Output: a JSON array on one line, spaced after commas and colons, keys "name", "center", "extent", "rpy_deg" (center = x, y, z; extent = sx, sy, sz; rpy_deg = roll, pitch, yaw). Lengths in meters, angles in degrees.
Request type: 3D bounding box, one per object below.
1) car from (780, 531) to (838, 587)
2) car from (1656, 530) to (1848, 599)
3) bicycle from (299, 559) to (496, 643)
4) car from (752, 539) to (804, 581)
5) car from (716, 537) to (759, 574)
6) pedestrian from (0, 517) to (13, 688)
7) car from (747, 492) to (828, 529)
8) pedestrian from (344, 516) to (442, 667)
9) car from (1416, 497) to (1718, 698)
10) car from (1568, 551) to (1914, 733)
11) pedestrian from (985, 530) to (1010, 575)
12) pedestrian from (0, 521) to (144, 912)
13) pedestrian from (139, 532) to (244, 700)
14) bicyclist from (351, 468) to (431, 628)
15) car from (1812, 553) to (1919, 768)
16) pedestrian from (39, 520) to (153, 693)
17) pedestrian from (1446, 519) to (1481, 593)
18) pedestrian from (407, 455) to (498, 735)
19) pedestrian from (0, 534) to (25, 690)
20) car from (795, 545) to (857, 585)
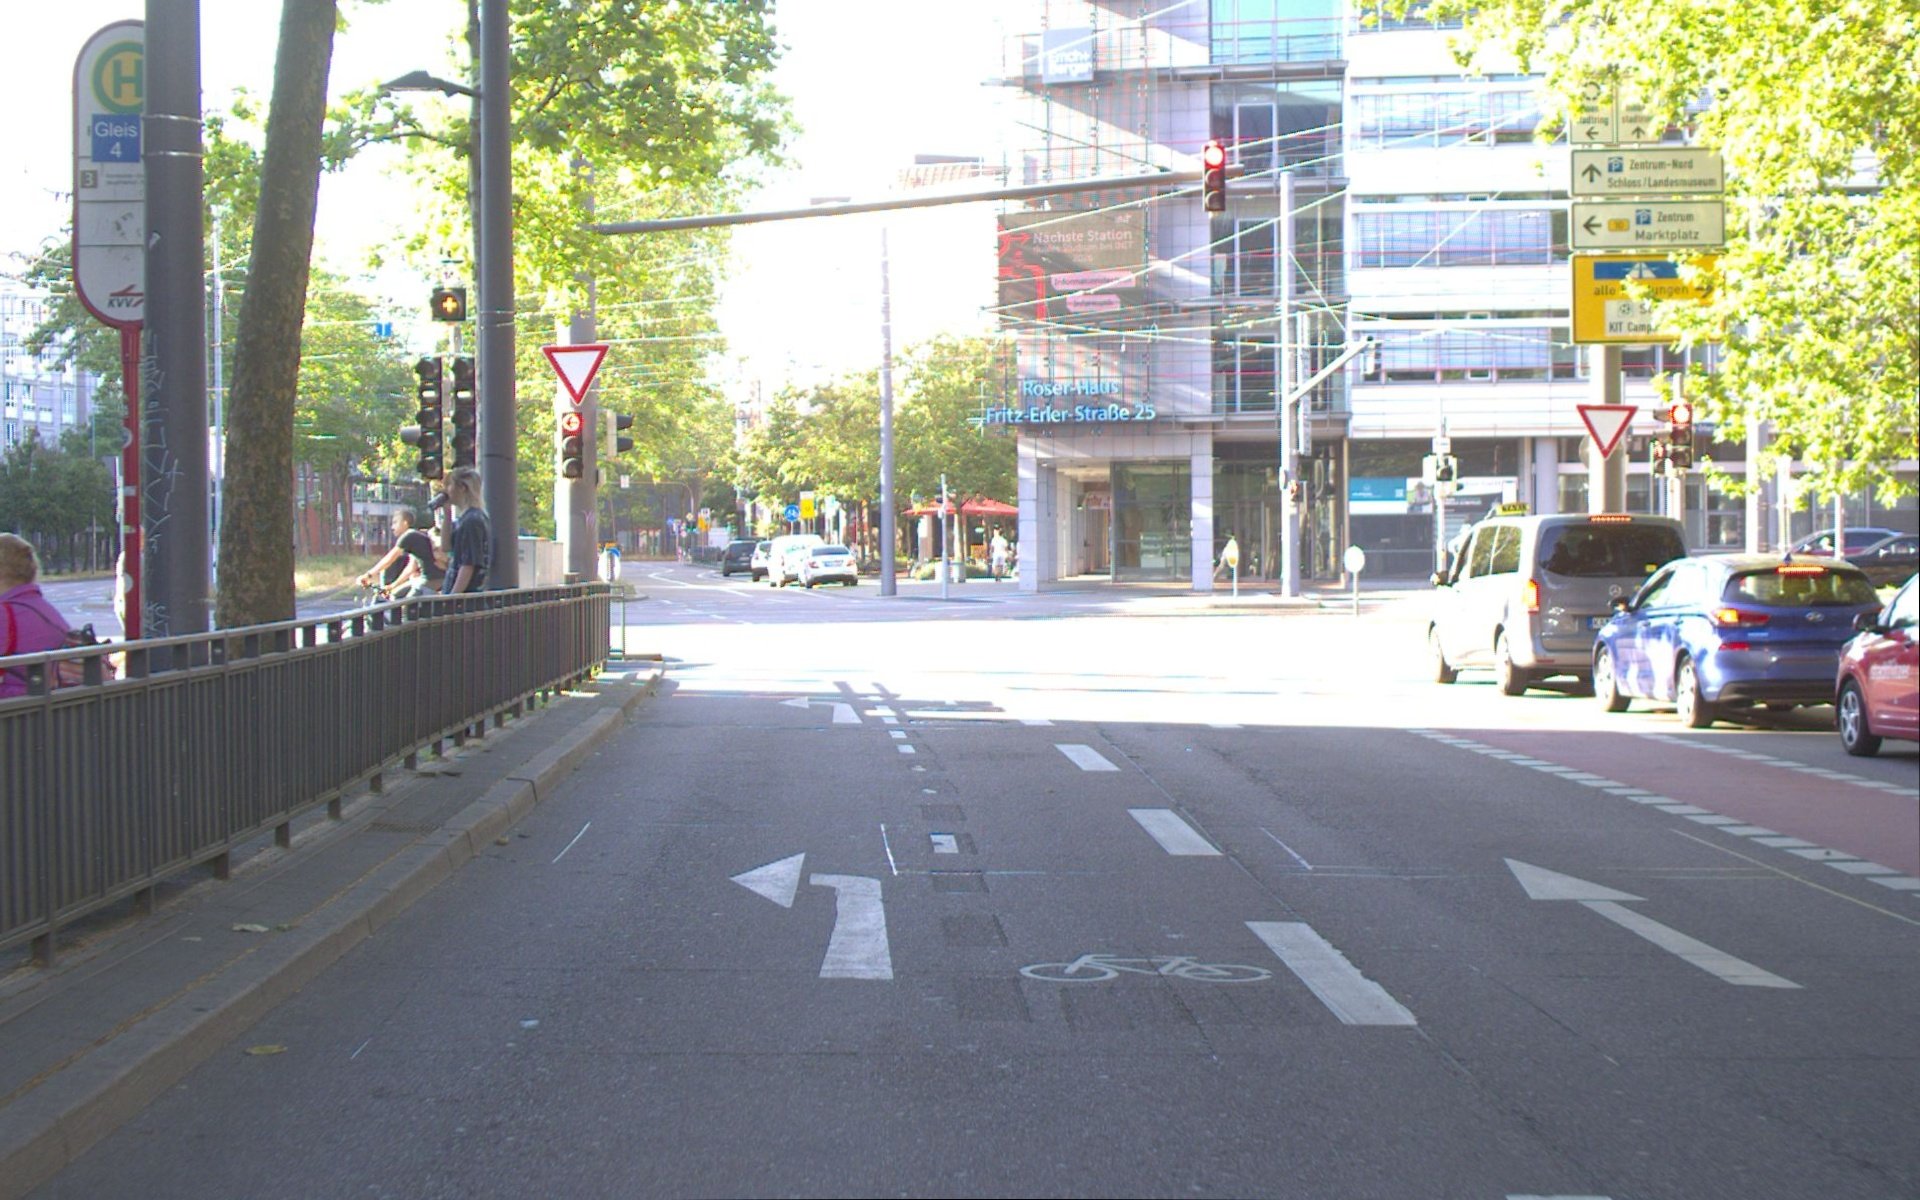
[{"name": "car", "center": [-5.476, -1.485, 124.347], "extent": [1.993, 1.985, 4.001], "rpy_deg": [-1, 1, -4]}, {"name": "car", "center": [19.109, -0.864, 83.037], "extent": [4.241, 1.596, 1.795], "rpy_deg": [-1, 1, 2]}, {"name": "bicycle", "center": [-6.347, 0.003, 38.856], "extent": [2.176, 0.930, 0.668], "rpy_deg": [0, 1, -9]}, {"name": "car", "center": [-7.403, -1.649, 139.534], "extent": [1.993, 1.656, 4.001], "rpy_deg": [-1, 1, -4]}, {"name": "car", "center": [-10.439, -2.089, 161.159], "extent": [1.993, 1.656, 4.001], "rpy_deg": [-1, 1, -4]}, {"name": "pedestrian", "center": [-11.020, 0.021, 37.836], "extent": [1.073, 1.865, 0.739], "rpy_deg": [1, 0, -11]}, {"name": "car", "center": [-8.780, -4.553, 174.680], "extent": [3.763, 1.744, 1.781], "rpy_deg": [1, 0, 11]}, {"name": "pedestrian", "center": [-6.530, -0.100, 39.642], "extent": [1.073, 1.709, 0.628], "rpy_deg": [1, 0, -7]}, {"name": "car", "center": [6.401, -0.065, 36.866], "extent": [1.993, 1.959, 5.138], "rpy_deg": [1, 1, -4]}, {"name": "car", "center": [6.776, 0.310, 30.266], "extent": [1.764, 1.459, 4.218], "rpy_deg": [-1, 1, -5]}, {"name": "pedestrian", "center": [1.242, -1.579, 113.862], "extent": [0.739, 1.460, 0.537], "rpy_deg": [-1, 1, -5]}, {"name": "pedestrian", "center": [-3.591, 0.409, 12.661], "extent": [0.977, 1.395, 0.664], "rpy_deg": [1, 0, 1]}, {"name": "pedestrian", "center": [-8.334, 0.169, 37.313], "extent": [1.071, 1.800, 0.758], "rpy_deg": [1, 0, -11]}, {"name": "bicyclist", "center": [-6.420, -0.590, 38.828], "extent": [0.849, 1.779, 0.753], "rpy_deg": [-1, 1, -9]}, {"name": "car", "center": [7.260, 0.410, 23.867], "extent": [1.558, 1.459, 3.622], "rpy_deg": [0, 1, -4]}, {"name": "pedestrian", "center": [-9.528, 0.071, 37.948], "extent": [1.145, 1.887, 0.833], "rpy_deg": [1, 0, -11]}, {"name": "pedestrian", "center": [11.446, -1.006, 78.153], "extent": [0.720, 1.676, 0.557], "rpy_deg": [1, 0, 4]}, {"name": "pedestrian", "center": [-3.498, -0.037, 23.721], "extent": [0.509, 1.894, 0.760], "rpy_deg": [1, 0, -3]}, {"name": "pedestrian", "center": [-10.693, 0.121, 37.127], "extent": [1.072, 1.676, 0.758], "rpy_deg": [1, 0, -11]}, {"name": "car", "center": [-4.598, -1.209, 117.460], "extent": [1.993, 1.327, 4.001], "rpy_deg": [-1, 1, -4]}]
